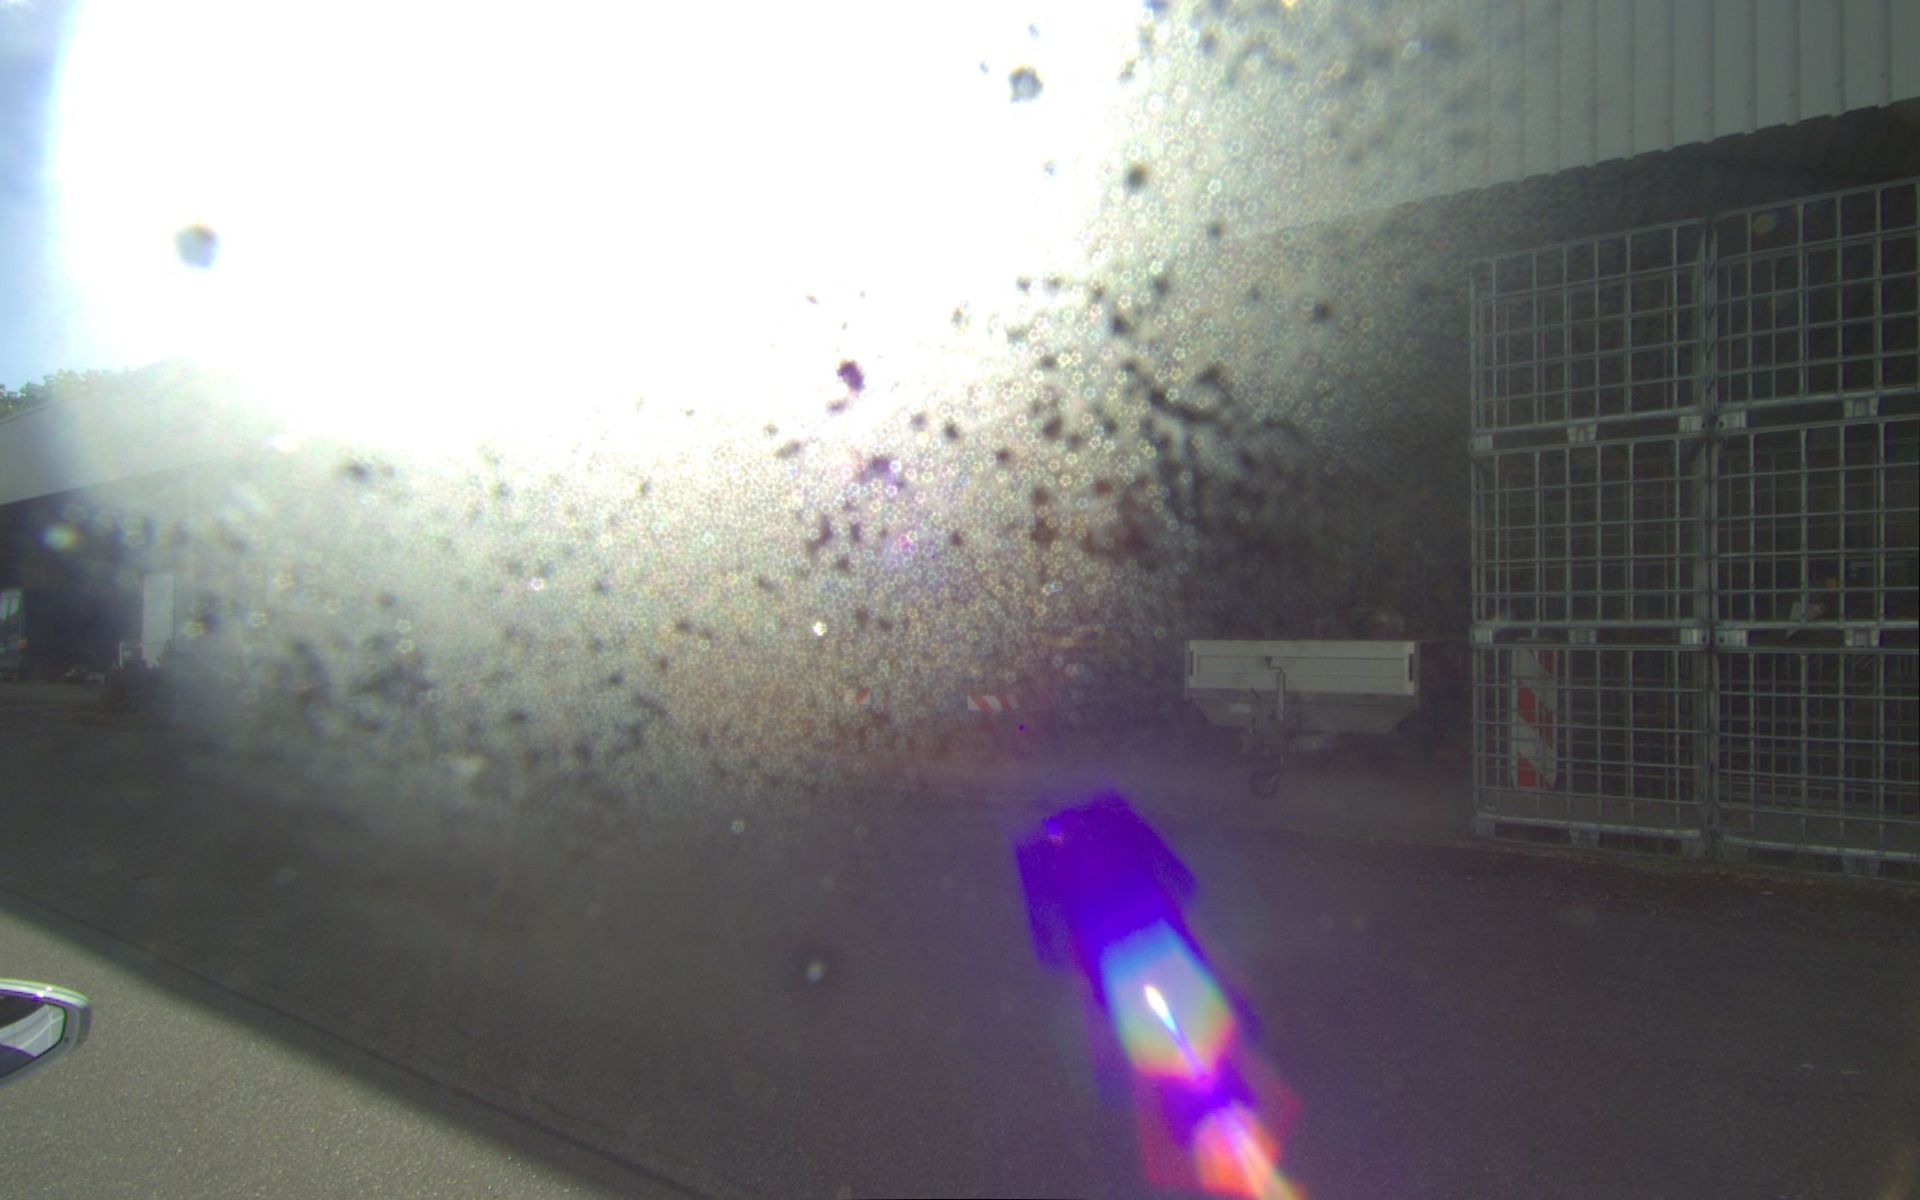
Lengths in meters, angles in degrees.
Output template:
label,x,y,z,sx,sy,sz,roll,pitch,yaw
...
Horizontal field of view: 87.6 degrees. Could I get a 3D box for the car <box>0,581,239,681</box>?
label,x,y,z,sx,sy,sz,roll,pitch,yaw
car,-21.512,0.879,25.743,1.890,2.337,4.425,-3,-4,33

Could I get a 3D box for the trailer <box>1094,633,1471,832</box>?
label,x,y,z,sx,sy,sz,roll,pitch,yaw
trailer,3.355,0.920,9.268,2.110,1.148,5.840,-1,-1,30

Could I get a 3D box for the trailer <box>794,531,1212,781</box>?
label,x,y,z,sx,sy,sz,roll,pitch,yaw
trailer,0.864,0.520,11.249,2.049,2.058,5.753,0,-1,33

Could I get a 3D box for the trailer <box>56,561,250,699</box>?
label,x,y,z,sx,sy,sz,roll,pitch,yaw
trailer,-15.407,0.591,19.195,1.703,2.429,2.518,-2,-2,33

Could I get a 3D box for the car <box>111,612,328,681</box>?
label,x,y,z,sx,sy,sz,roll,pitch,yaw
car,-18.360,1.202,25.013,1.661,1.543,4.031,-3,-5,33

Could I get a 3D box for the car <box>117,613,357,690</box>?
label,x,y,z,sx,sy,sz,roll,pitch,yaw
car,-16.022,1.182,22.396,1.661,1.543,4.031,-3,-5,33
